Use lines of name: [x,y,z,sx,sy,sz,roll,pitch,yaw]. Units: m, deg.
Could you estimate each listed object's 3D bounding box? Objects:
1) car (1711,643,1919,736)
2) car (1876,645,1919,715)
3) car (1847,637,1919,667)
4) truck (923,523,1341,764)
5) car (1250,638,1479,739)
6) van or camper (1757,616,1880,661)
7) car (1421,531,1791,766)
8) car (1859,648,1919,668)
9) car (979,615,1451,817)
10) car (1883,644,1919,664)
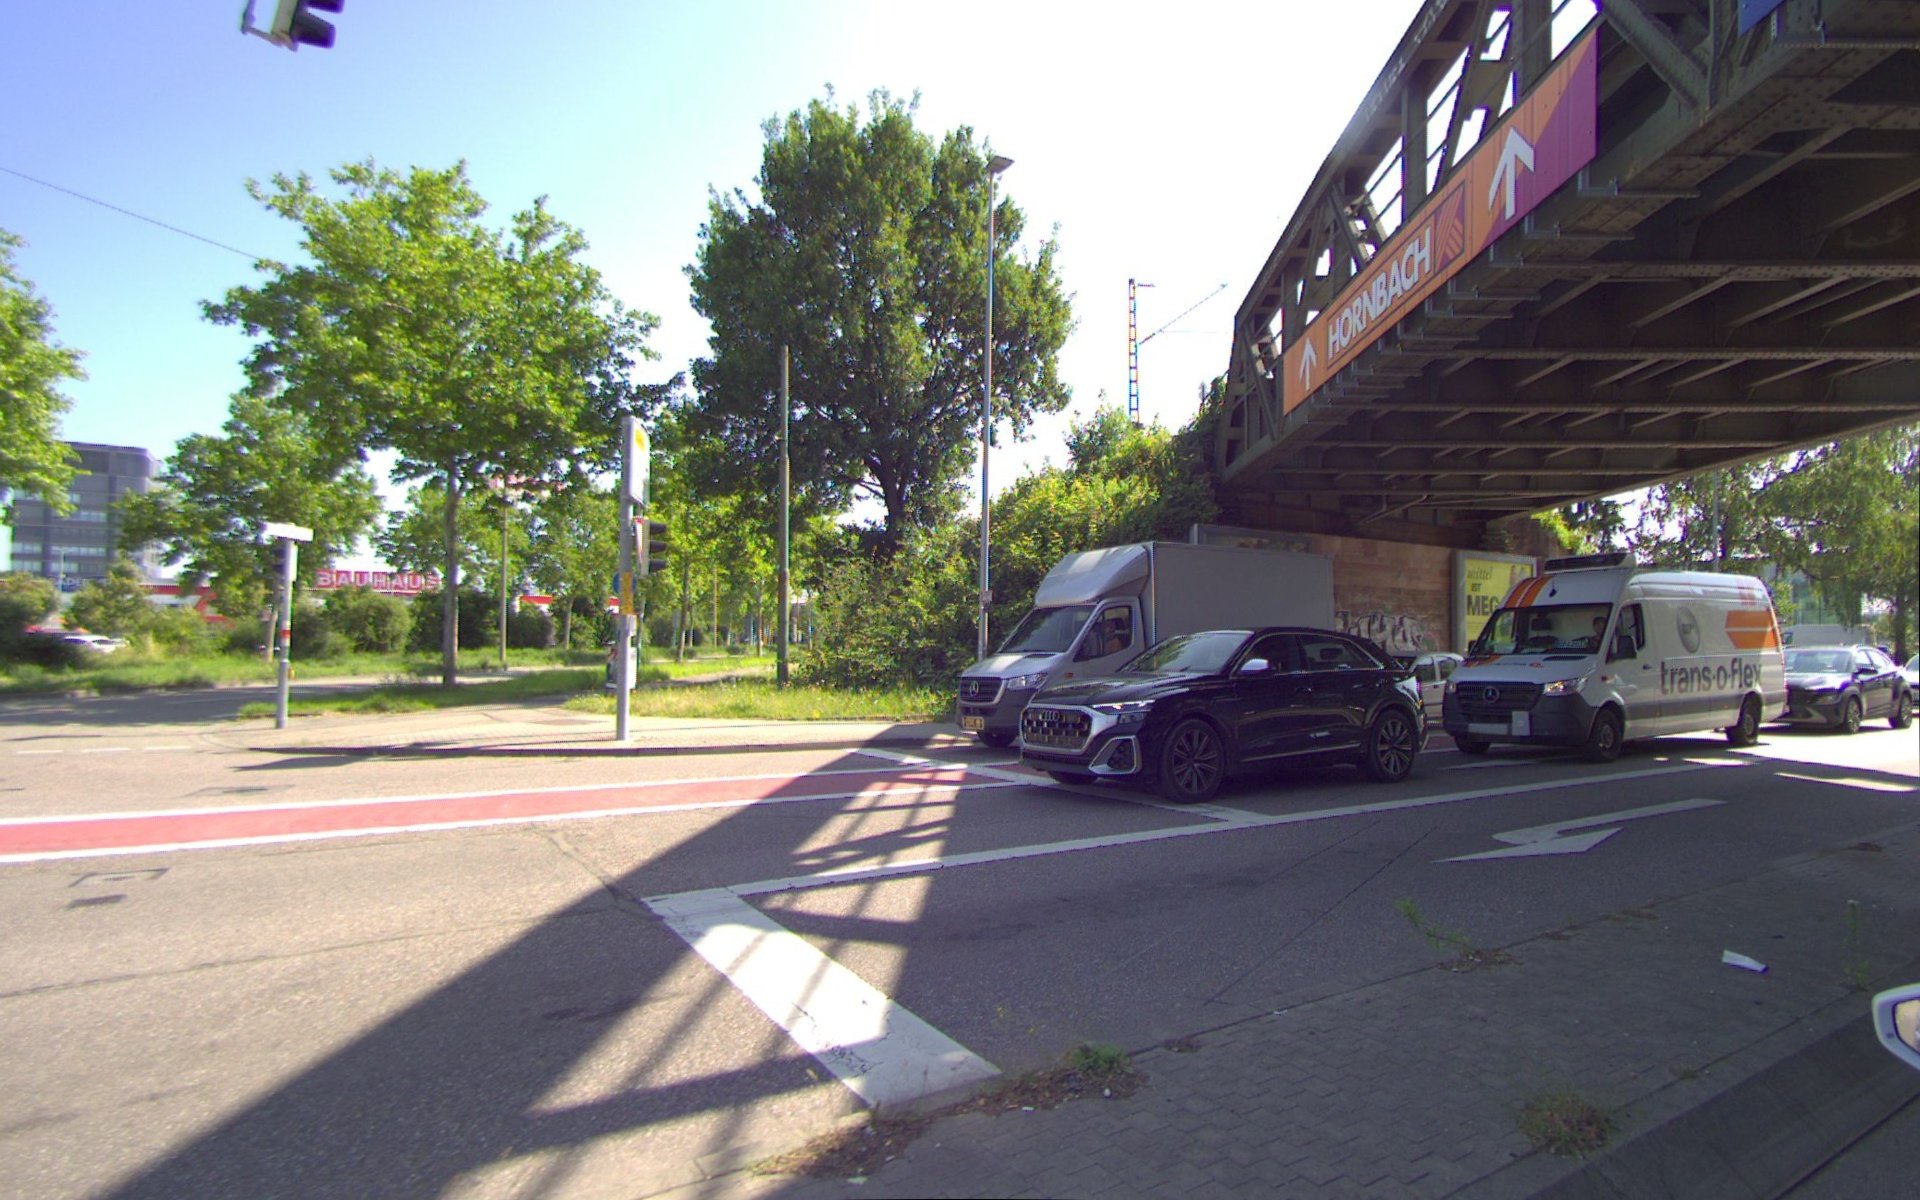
car: [16.045,1.608,18.789,4.130,1.514,1.760,1,-3,-32]
car: [22.989,1.812,23.277,3.787,1.514,1.634,1,-3,-33]
car: [62.295,3.446,67.031,1.930,1.909,4.248,2,-3,-29]
truck: [2.971,0.694,16.019,7.000,3.129,2.326,2,-2,-35]
car: [7.895,1.645,19.548,4.239,1.712,1.974,1,-3,-32]
van or camper: [52.116,2.284,61.098,1.979,2.504,5.346,0,0,-33]
car: [9.783,0.745,14.928,6.865,2.841,1.982,2,-5,-34]
car: [66.362,4.066,70.696,1.930,1.345,4.248,2,-3,-29]
car: [2.787,1.075,10.596,4.893,1.703,1.984,2,-3,-31]
car: [69.071,3.844,71.725,1.930,1.399,4.248,2,-3,-29]
